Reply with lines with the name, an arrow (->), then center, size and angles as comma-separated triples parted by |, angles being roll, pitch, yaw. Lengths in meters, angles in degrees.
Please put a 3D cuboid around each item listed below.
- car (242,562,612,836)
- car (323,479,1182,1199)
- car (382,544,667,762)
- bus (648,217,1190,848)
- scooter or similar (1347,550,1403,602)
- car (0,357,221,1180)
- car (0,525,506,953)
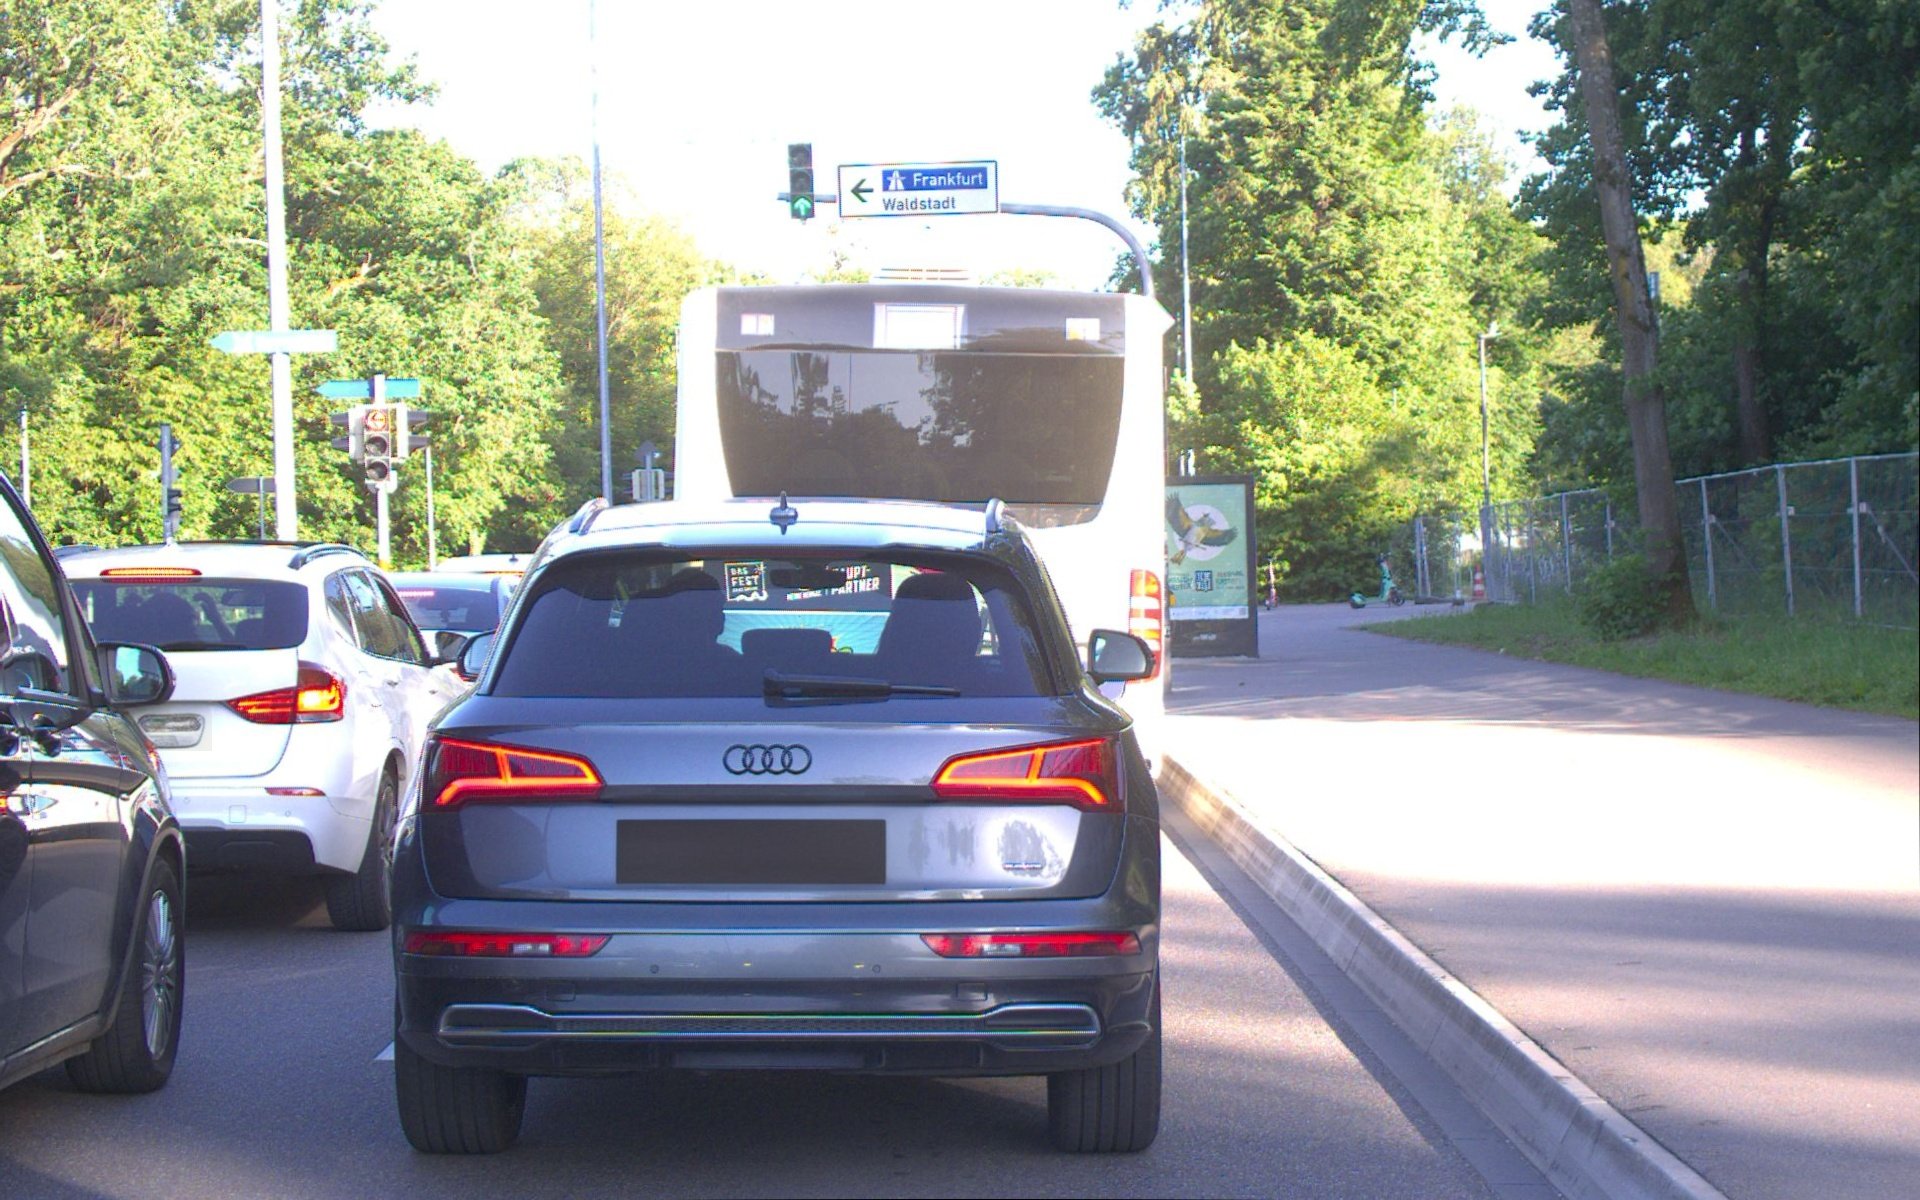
car -> -3.160, 0.524, 21.128 | 1.785, 1.439, 4.278 | 1, 1, -3
car -> -0.480, 0.528, 9.552 | 1.868, 1.658, 4.000 | 1, 1, -1
car -> -3.405, 0.359, 27.529 | 1.808, 1.567, 4.000 | 1, 1, -1
bus -> -0.175, -0.408, 20.173 | 2.678, 3.131, 5.882 | 1, 1, 1
scooter or similar -> 9.385, -0.545, 77.707 | 1.184, 1.170, 0.659 | 1, 1, 11
car -> -3.104, 0.372, 7.670 | 1.907, 1.849, 4.873 | 1, 1, -1
car -> -3.115, 0.497, 14.993 | 1.718, 1.575, 4.434 | 1, 0, -1
